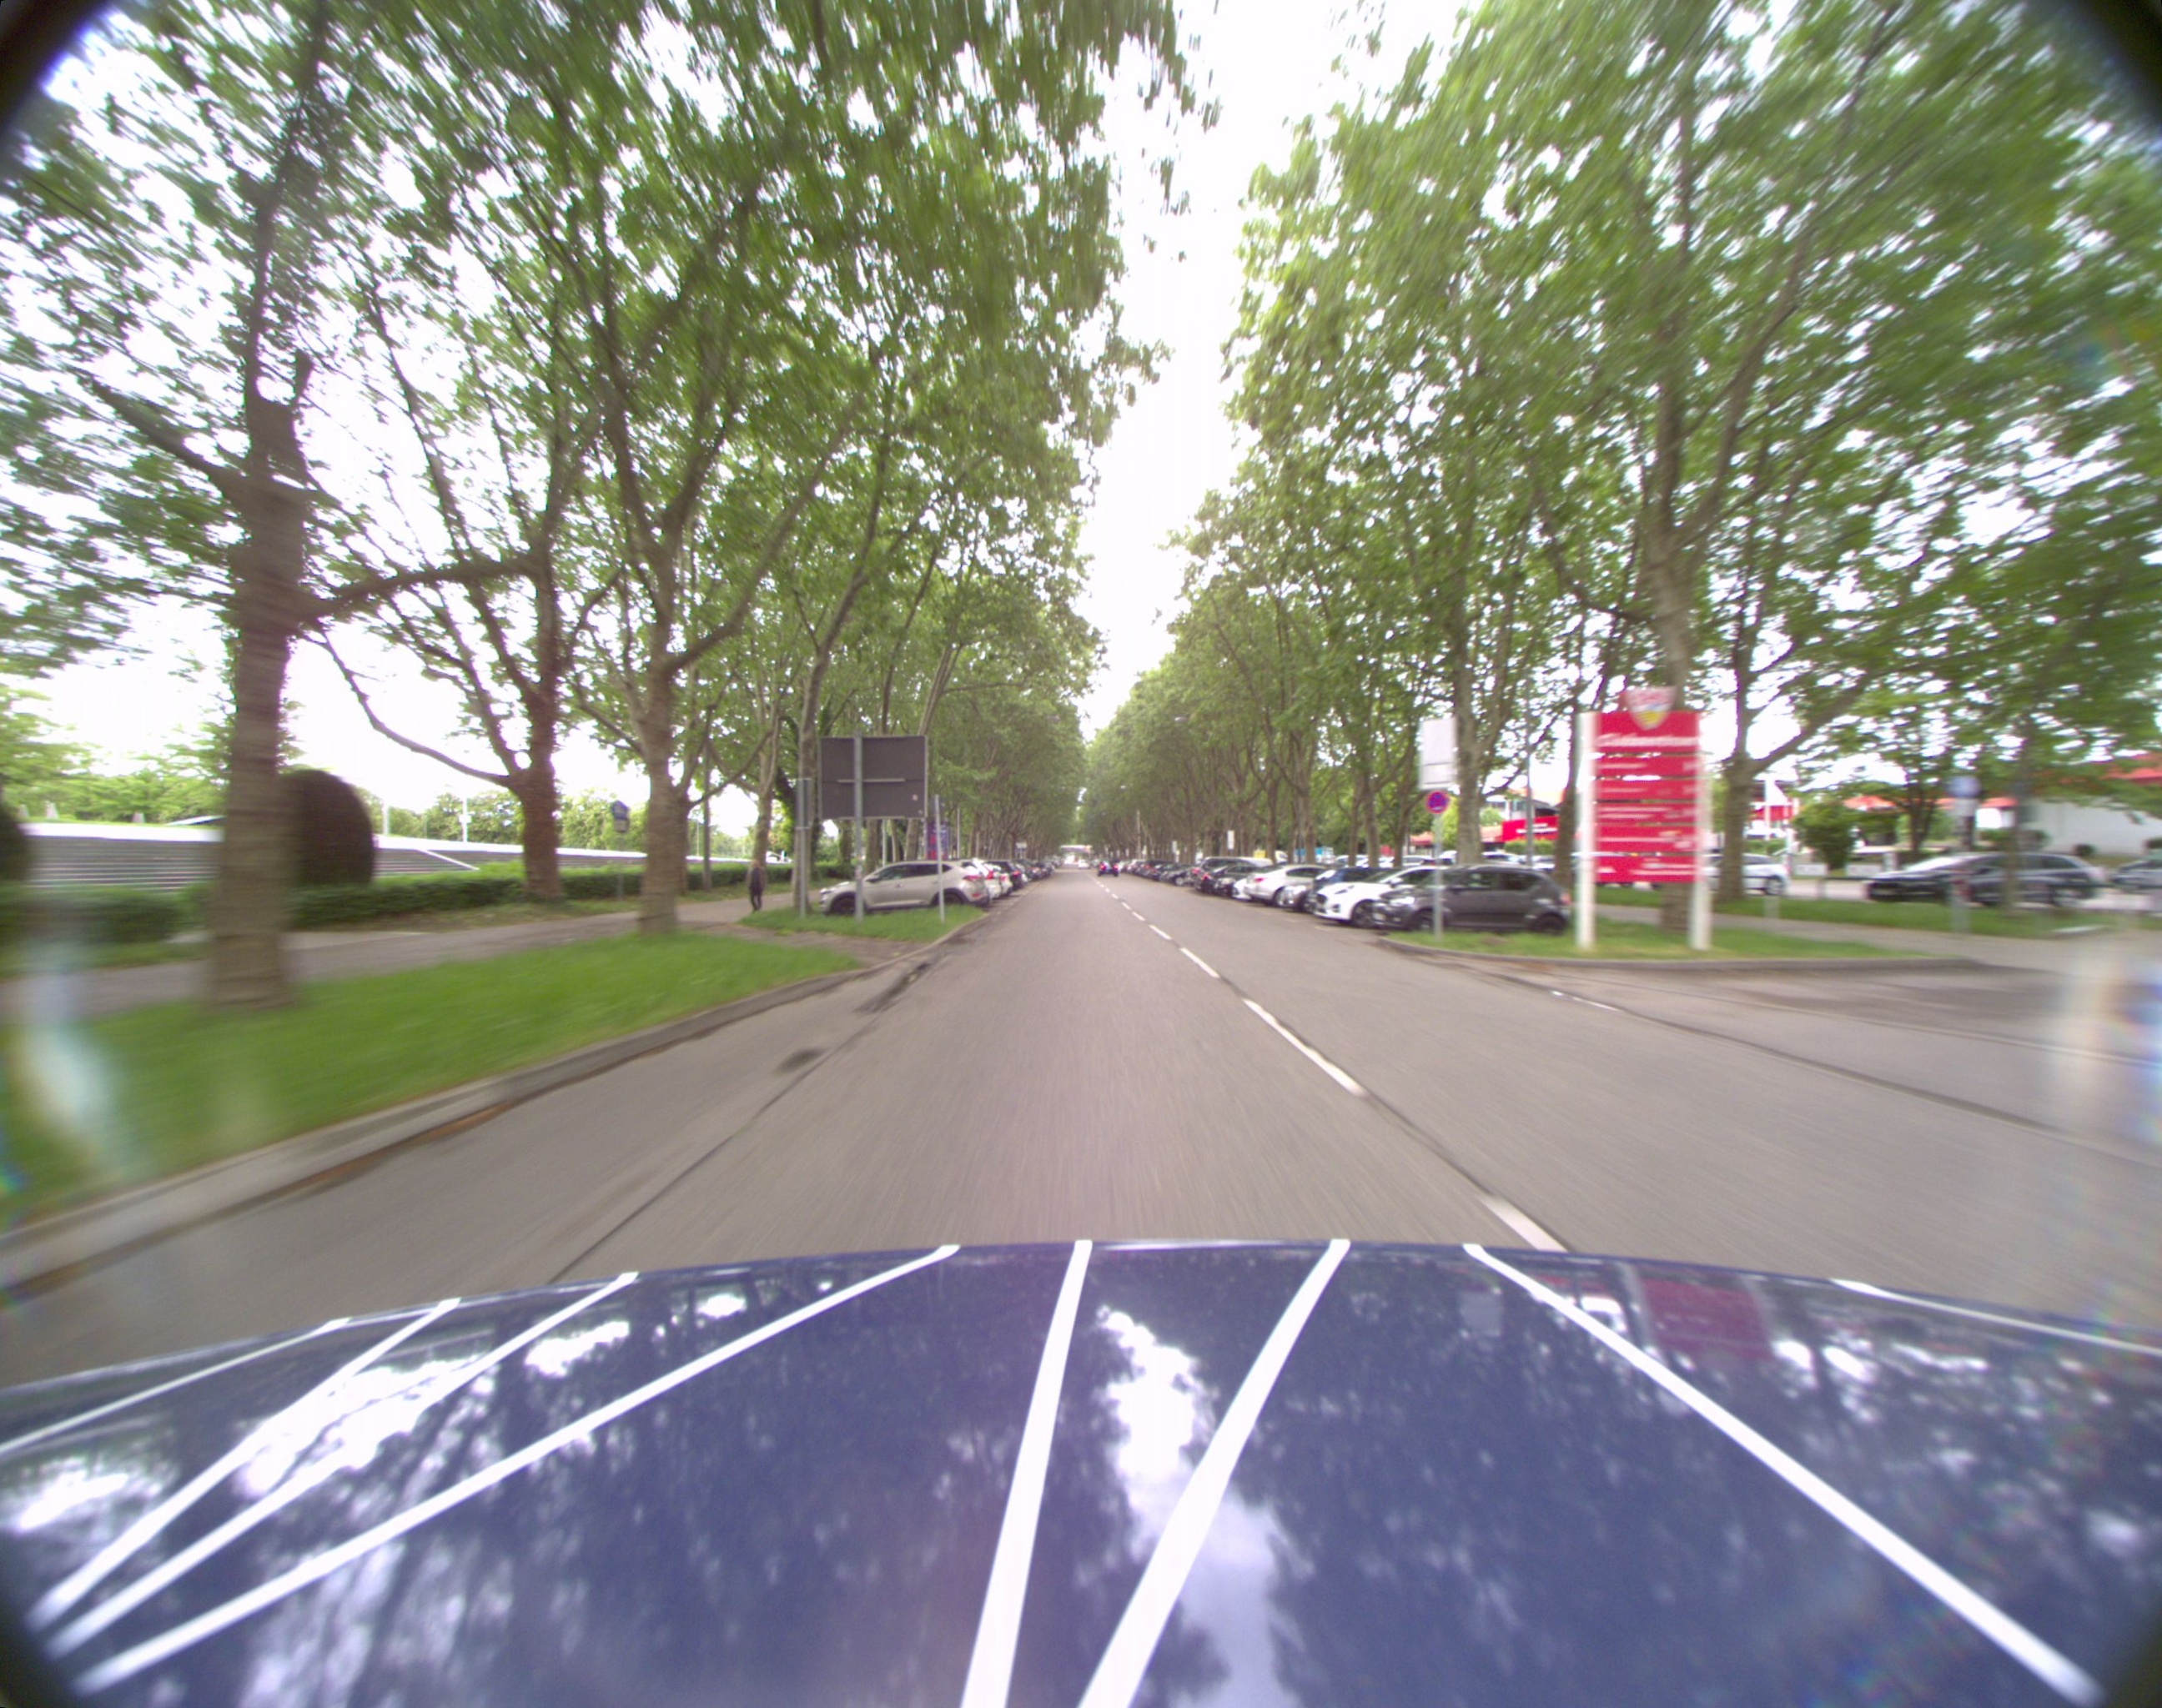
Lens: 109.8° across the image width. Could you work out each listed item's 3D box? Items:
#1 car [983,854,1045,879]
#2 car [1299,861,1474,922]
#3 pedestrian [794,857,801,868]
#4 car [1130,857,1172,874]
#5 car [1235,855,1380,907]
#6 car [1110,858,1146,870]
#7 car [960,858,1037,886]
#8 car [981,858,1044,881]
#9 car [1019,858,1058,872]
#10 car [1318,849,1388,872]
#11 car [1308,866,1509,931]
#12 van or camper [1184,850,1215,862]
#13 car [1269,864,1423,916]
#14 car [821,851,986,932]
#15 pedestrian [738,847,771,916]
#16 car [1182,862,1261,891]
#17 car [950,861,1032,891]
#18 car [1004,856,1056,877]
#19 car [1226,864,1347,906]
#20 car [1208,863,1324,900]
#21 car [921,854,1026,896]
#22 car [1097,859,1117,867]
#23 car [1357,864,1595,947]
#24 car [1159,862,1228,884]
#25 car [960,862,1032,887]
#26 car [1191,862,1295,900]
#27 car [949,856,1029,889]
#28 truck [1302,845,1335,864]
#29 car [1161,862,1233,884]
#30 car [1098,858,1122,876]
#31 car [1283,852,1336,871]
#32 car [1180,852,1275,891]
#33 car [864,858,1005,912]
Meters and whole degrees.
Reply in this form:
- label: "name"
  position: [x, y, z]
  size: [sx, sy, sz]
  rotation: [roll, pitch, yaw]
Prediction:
- label: "car"
  position: [-5.159, 0.955, 58.761]
  size: [4.505, 1.786, 2.048]
  rotation: [-2, 0, 3]
- label: "car"
  position: [8.228, 0.979, 20.722]
  size: [4.004, 1.485, 1.832]
  rotation: [-1, 1, -1]
- label: "pedestrian"
  position: [-43.432, 1.304, 116.352]
  size: [0.724, 1.634, 0.698]
  rotation: [-1, 1, 6]
- label: "car"
  position: [7.010, 1.144, 76.086]
  size: [3.997, 1.672, 1.855]
  rotation: [-1, 1, 0]
- label: "car"
  position: [7.632, 0.892, 25.855]
  size: [4.275, 1.539, 1.908]
  rotation: [2, 0, -2]
- label: "car"
  position: [6.086, 1.290, 98.151]
  size: [4.420, 1.416, 1.776]
  rotation: [1, 0, -2]
- label: "car"
  position: [-5.200, 1.120, 48.418]
  size: [4.602, 1.629, 1.873]
  rotation: [-2, 0, 1]
- label: "car"
  position: [-4.970, 1.129, 55.775]
  size: [4.356, 1.493, 1.926]
  rotation: [-2, 0, 2]
- label: "car"
  position: [-5.026, 1.315, 91.050]
  size: [4.535, 1.613, 2.054]
  rotation: [-1, 0, 0]
- label: "car"
  position: [22.282, 0.507, 62.463]
  size: [4.955, 1.786, 2.182]
  rotation: [-1, 1, -3]
- label: "car"
  position: [7.699, 1.037, 18.186]
  size: [4.003, 1.376, 1.912]
  rotation: [-1, 0, 3]
- label: "van or camper"
  position: [22.179, 0.435, 142.426]
  size: [5.299, 2.087, 2.244]
  rotation: [-1, 1, -3]
- label: "car"
  position: [7.972, 1.067, 23.118]
  size: [3.997, 1.397, 1.862]
  rotation: [-1, 0, -1]
- label: "car"
  position: [-4.772, 0.992, 20.912]
  size: [3.997, 2.001, 2.000]
  rotation: [-2, 0, 0]
- label: "pedestrian"
  position: [-9.658, 0.795, 22.506]
  size: [0.788, 2.002, 0.598]
  rotation: [-1, 1, -17]
- label: "car"
  position: [7.560, 1.190, 41.038]
  size: [3.796, 1.463, 1.763]
  rotation: [1, 0, -11]
- label: "car"
  position: [-4.796, 1.154, 40.949]
  size: [4.159, 1.449, 1.727]
  rotation: [-2, 0, 0]
- label: "car"
  position: [-4.516, 1.110, 67.858]
  size: [4.507, 1.786, 2.047]
  rotation: [-2, 0, -1]
- label: "car"
  position: [7.644, 1.139, 28.480]
  size: [3.998, 1.396, 1.885]
  rotation: [-1, 0, -2]
- label: "car"
  position: [7.454, 1.080, 30.956]
  size: [4.200, 1.346, 1.967]
  rotation: [-1, 0, -3]
- label: "car"
  position: [-4.622, 0.913, 33.257]
  size: [4.358, 1.750, 1.925]
  rotation: [0, 0, -2]
- label: "car"
  position: [5.274, 1.742, 153.072]
  size: [4.039, 1.518, 1.800]
  rotation: [1, -1, 1]
- label: "car"
  position: [8.055, 1.020, 15.777]
  size: [4.004, 1.531, 1.805]
  rotation: [-1, 1, 1]
- label: "car"
  position: [7.863, 1.323, 53.185]
  size: [4.475, 1.358, 1.859]
  rotation: [2, 0, -2]
- label: "car"
  position: [-5.086, 1.213, 45.848]
  size: [4.051, 1.371, 1.744]
  rotation: [-2, 0, 0]
- label: "car"
  position: [7.035, 1.147, 33.377]
  size: [4.139, 1.443, 2.013]
  rotation: [2, 0, 1]
- label: "car"
  position: [-5.226, 1.045, 43.514]
  size: [4.358, 1.735, 1.837]
  rotation: [-2, 0, -2]
- label: "truck"
  position: [34.006, 0.071, 108.765]
  size: [3.998, 2.701, 2.376]
  rotation: [-1, 1, -2]
- label: "car"
  position: [7.698, 1.271, 50.630]
  size: [4.474, 1.340, 1.902]
  rotation: [1, 0, 1]
- label: "car"
  position: [2.643, 1.189, 69.720]
  size: [1.847, 1.501, 4.014]
  rotation: [-1, 0, -2]
- label: "car"
  position: [22.439, 0.743, 74.616]
  size: [4.565, 1.710, 1.999]
  rotation: [1, 0, -3]
- label: "car"
  position: [7.354, 0.870, 38.335]
  size: [4.330, 1.799, 1.867]
  rotation: [1, 0, -4]
- label: "car"
  position: [-4.876, 1.025, 25.753]
  size: [4.357, 1.624, 1.925]
  rotation: [-2, 0, 0]
